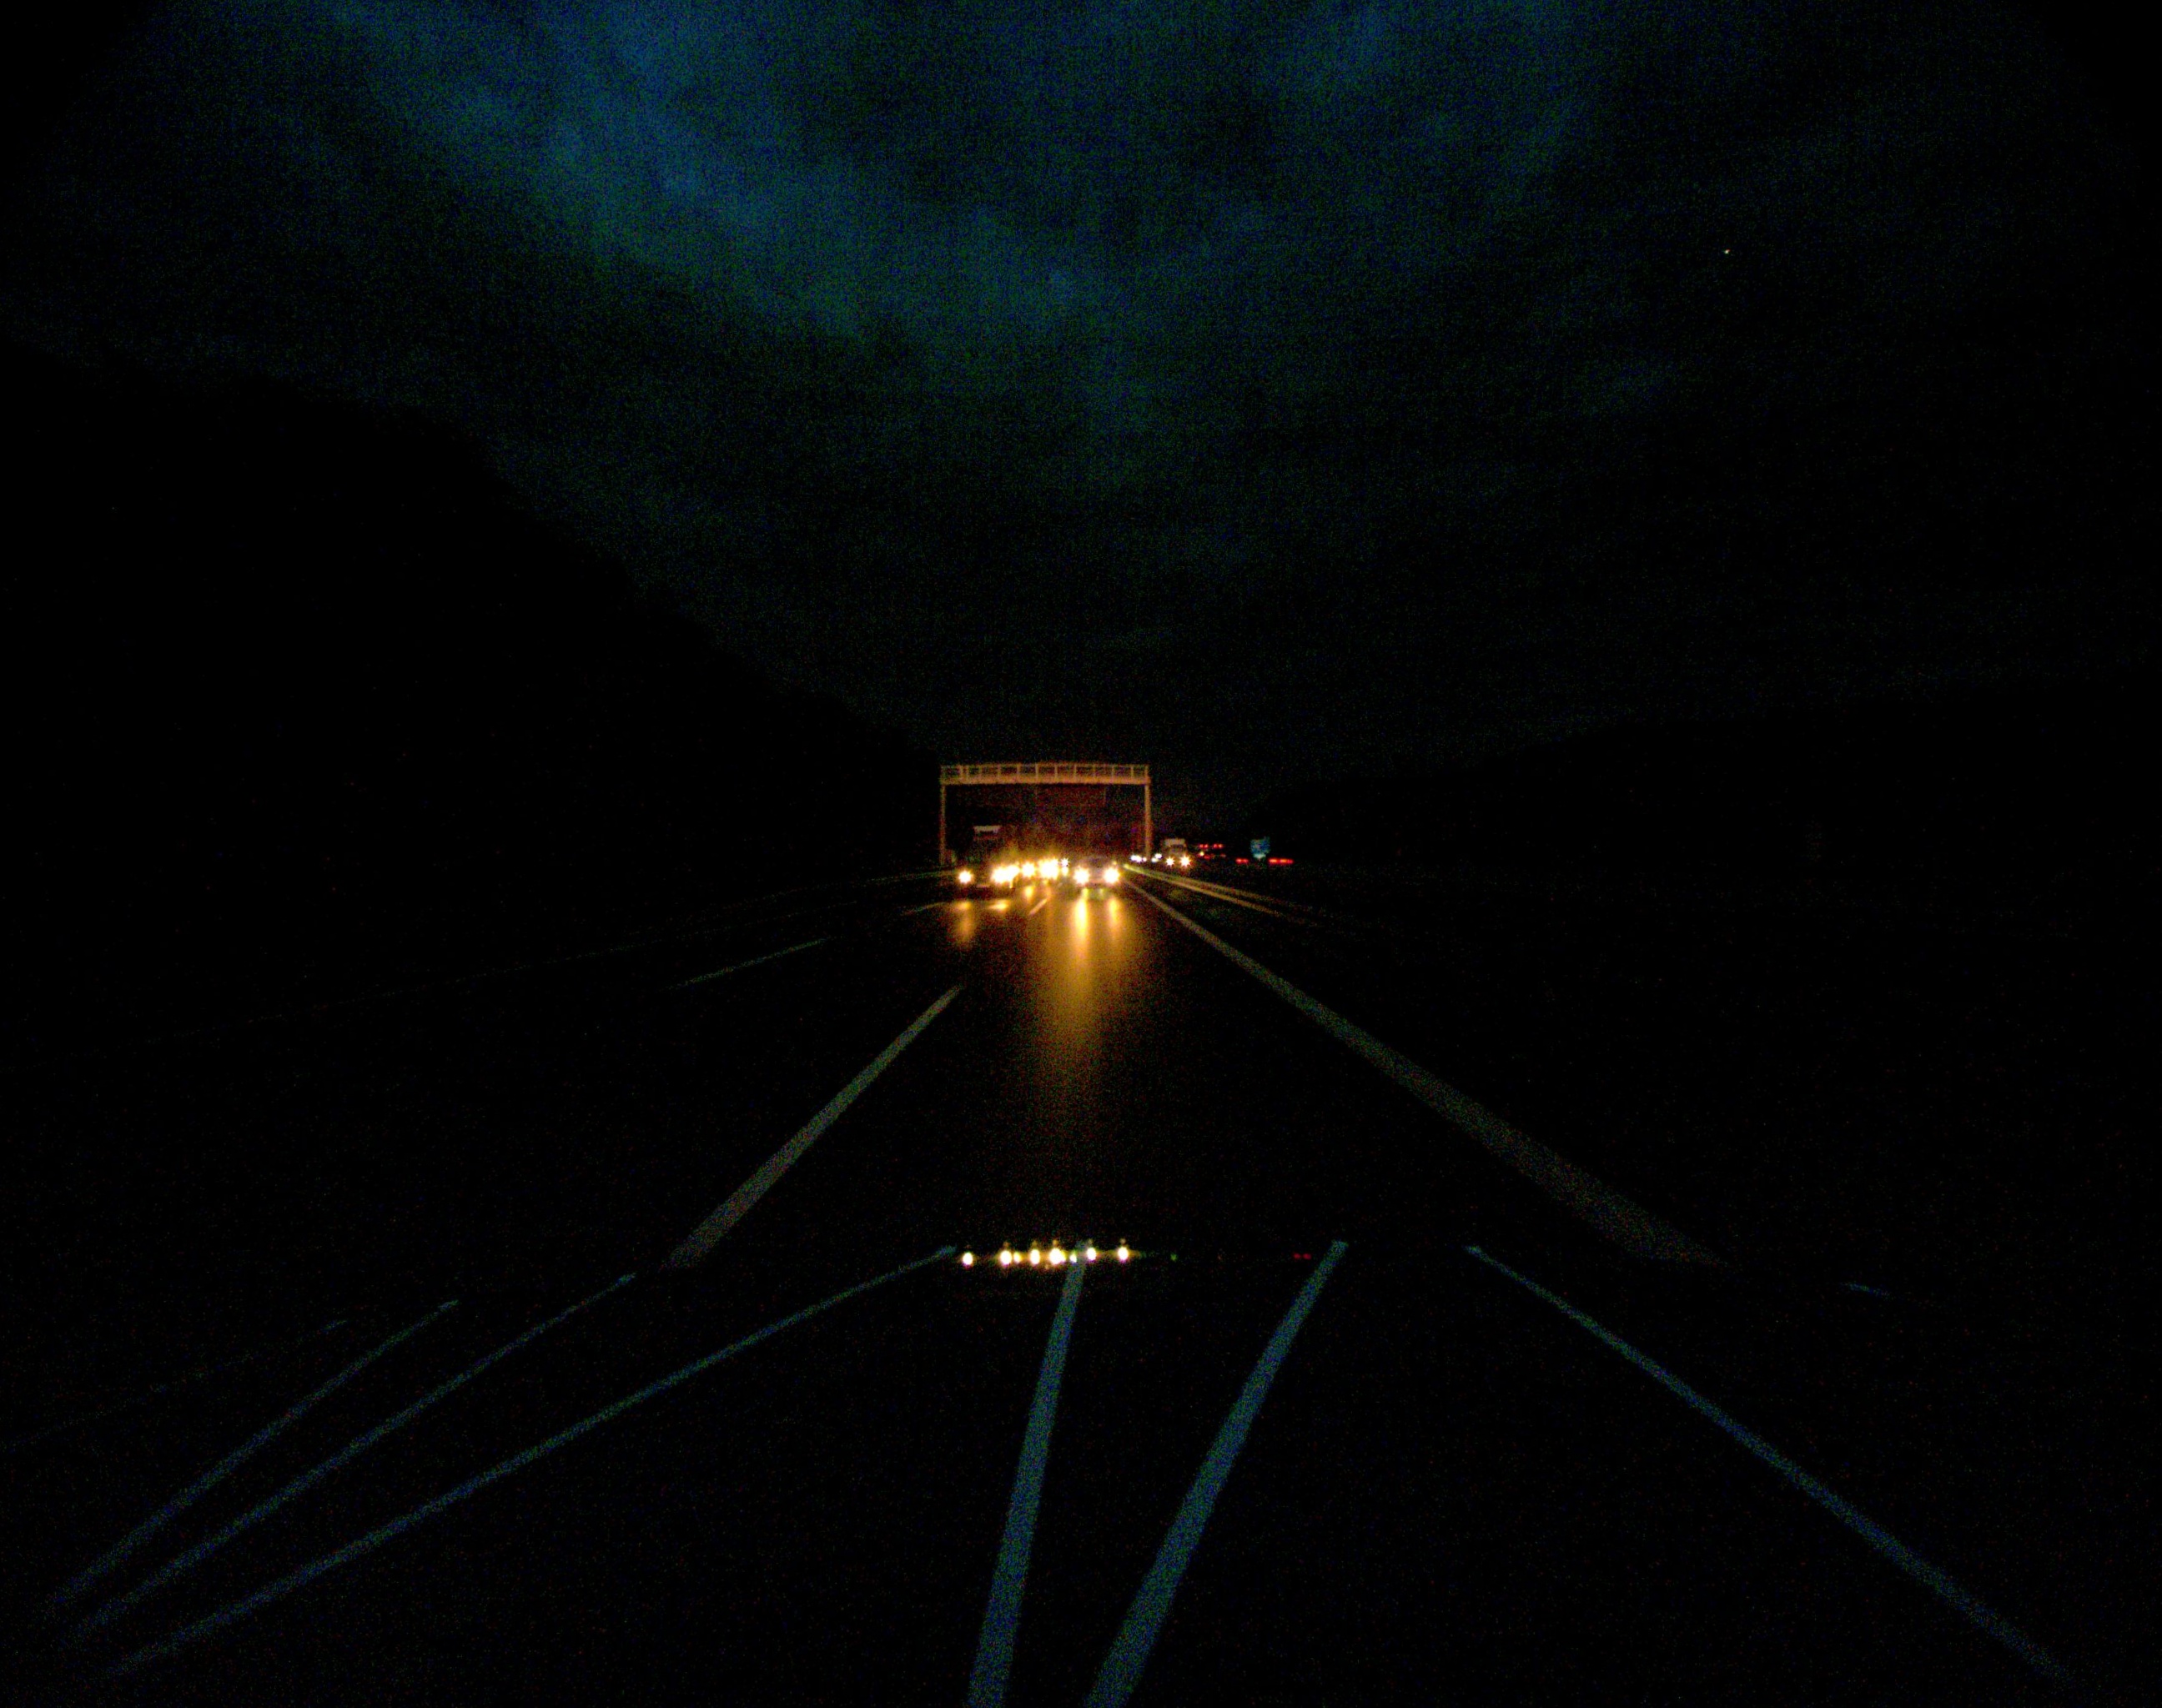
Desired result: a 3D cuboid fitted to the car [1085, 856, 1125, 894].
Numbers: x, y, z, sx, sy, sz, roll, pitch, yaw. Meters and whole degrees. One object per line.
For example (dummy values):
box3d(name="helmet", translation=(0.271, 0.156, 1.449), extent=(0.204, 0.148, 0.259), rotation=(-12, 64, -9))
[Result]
box3d(name="car", translation=(1.018, 0.854, 33.082), extent=(1.669, 1.551, 3.756), rotation=(0, 0, 1))

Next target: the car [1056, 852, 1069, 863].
box3d(name="car", translation=(-2.577, 0.457, 105.362), extent=(1.803, 1.483, 5.116), rotation=(-3, 0, -2))

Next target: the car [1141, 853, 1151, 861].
box3d(name="car", translation=(15.262, 0.693, 178.773), extent=(1.833, 1.674, 4.229), rotation=(-2, 0, 1))

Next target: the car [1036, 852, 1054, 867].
box3d(name="car", translation=(-4.112, 0.572, 86.867), extent=(1.802, 1.636, 5.160), rotation=(1, 0, 0))

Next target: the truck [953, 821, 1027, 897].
box3d(name="truck", translation=(-3.853, 0.194, 33.387), extent=(2.274, 2.954, 6.631), rotation=(-2, 0, 0))

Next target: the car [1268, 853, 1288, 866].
box3d(name="car", translation=(26.336, 0.699, 101.744), extent=(1.686, 1.696, 3.752), rotation=(-1, 0, 1))

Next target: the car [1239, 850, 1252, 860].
box3d(name="car", translation=(35.284, 0.151, 163.034), extent=(1.998, 2.002, 4.733), rotation=(0, 1, 1))

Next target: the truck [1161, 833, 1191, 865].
box3d(name="truck", translation=(13.220, -0.722, 106.256), extent=(3.046, 4.276, 9.890), rotation=(0, 1, 1))

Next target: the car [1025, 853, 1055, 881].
box3d(name="car", translation=(-2.396, 0.751, 45.228), extent=(1.614, 1.547, 3.318), rotation=(0, 1, 0))

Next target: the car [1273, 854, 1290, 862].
box3d(name="car", translation=(34.293, 0.599, 130.233), extent=(1.772, 1.311, 3.892), rotation=(0, 1, -1))
